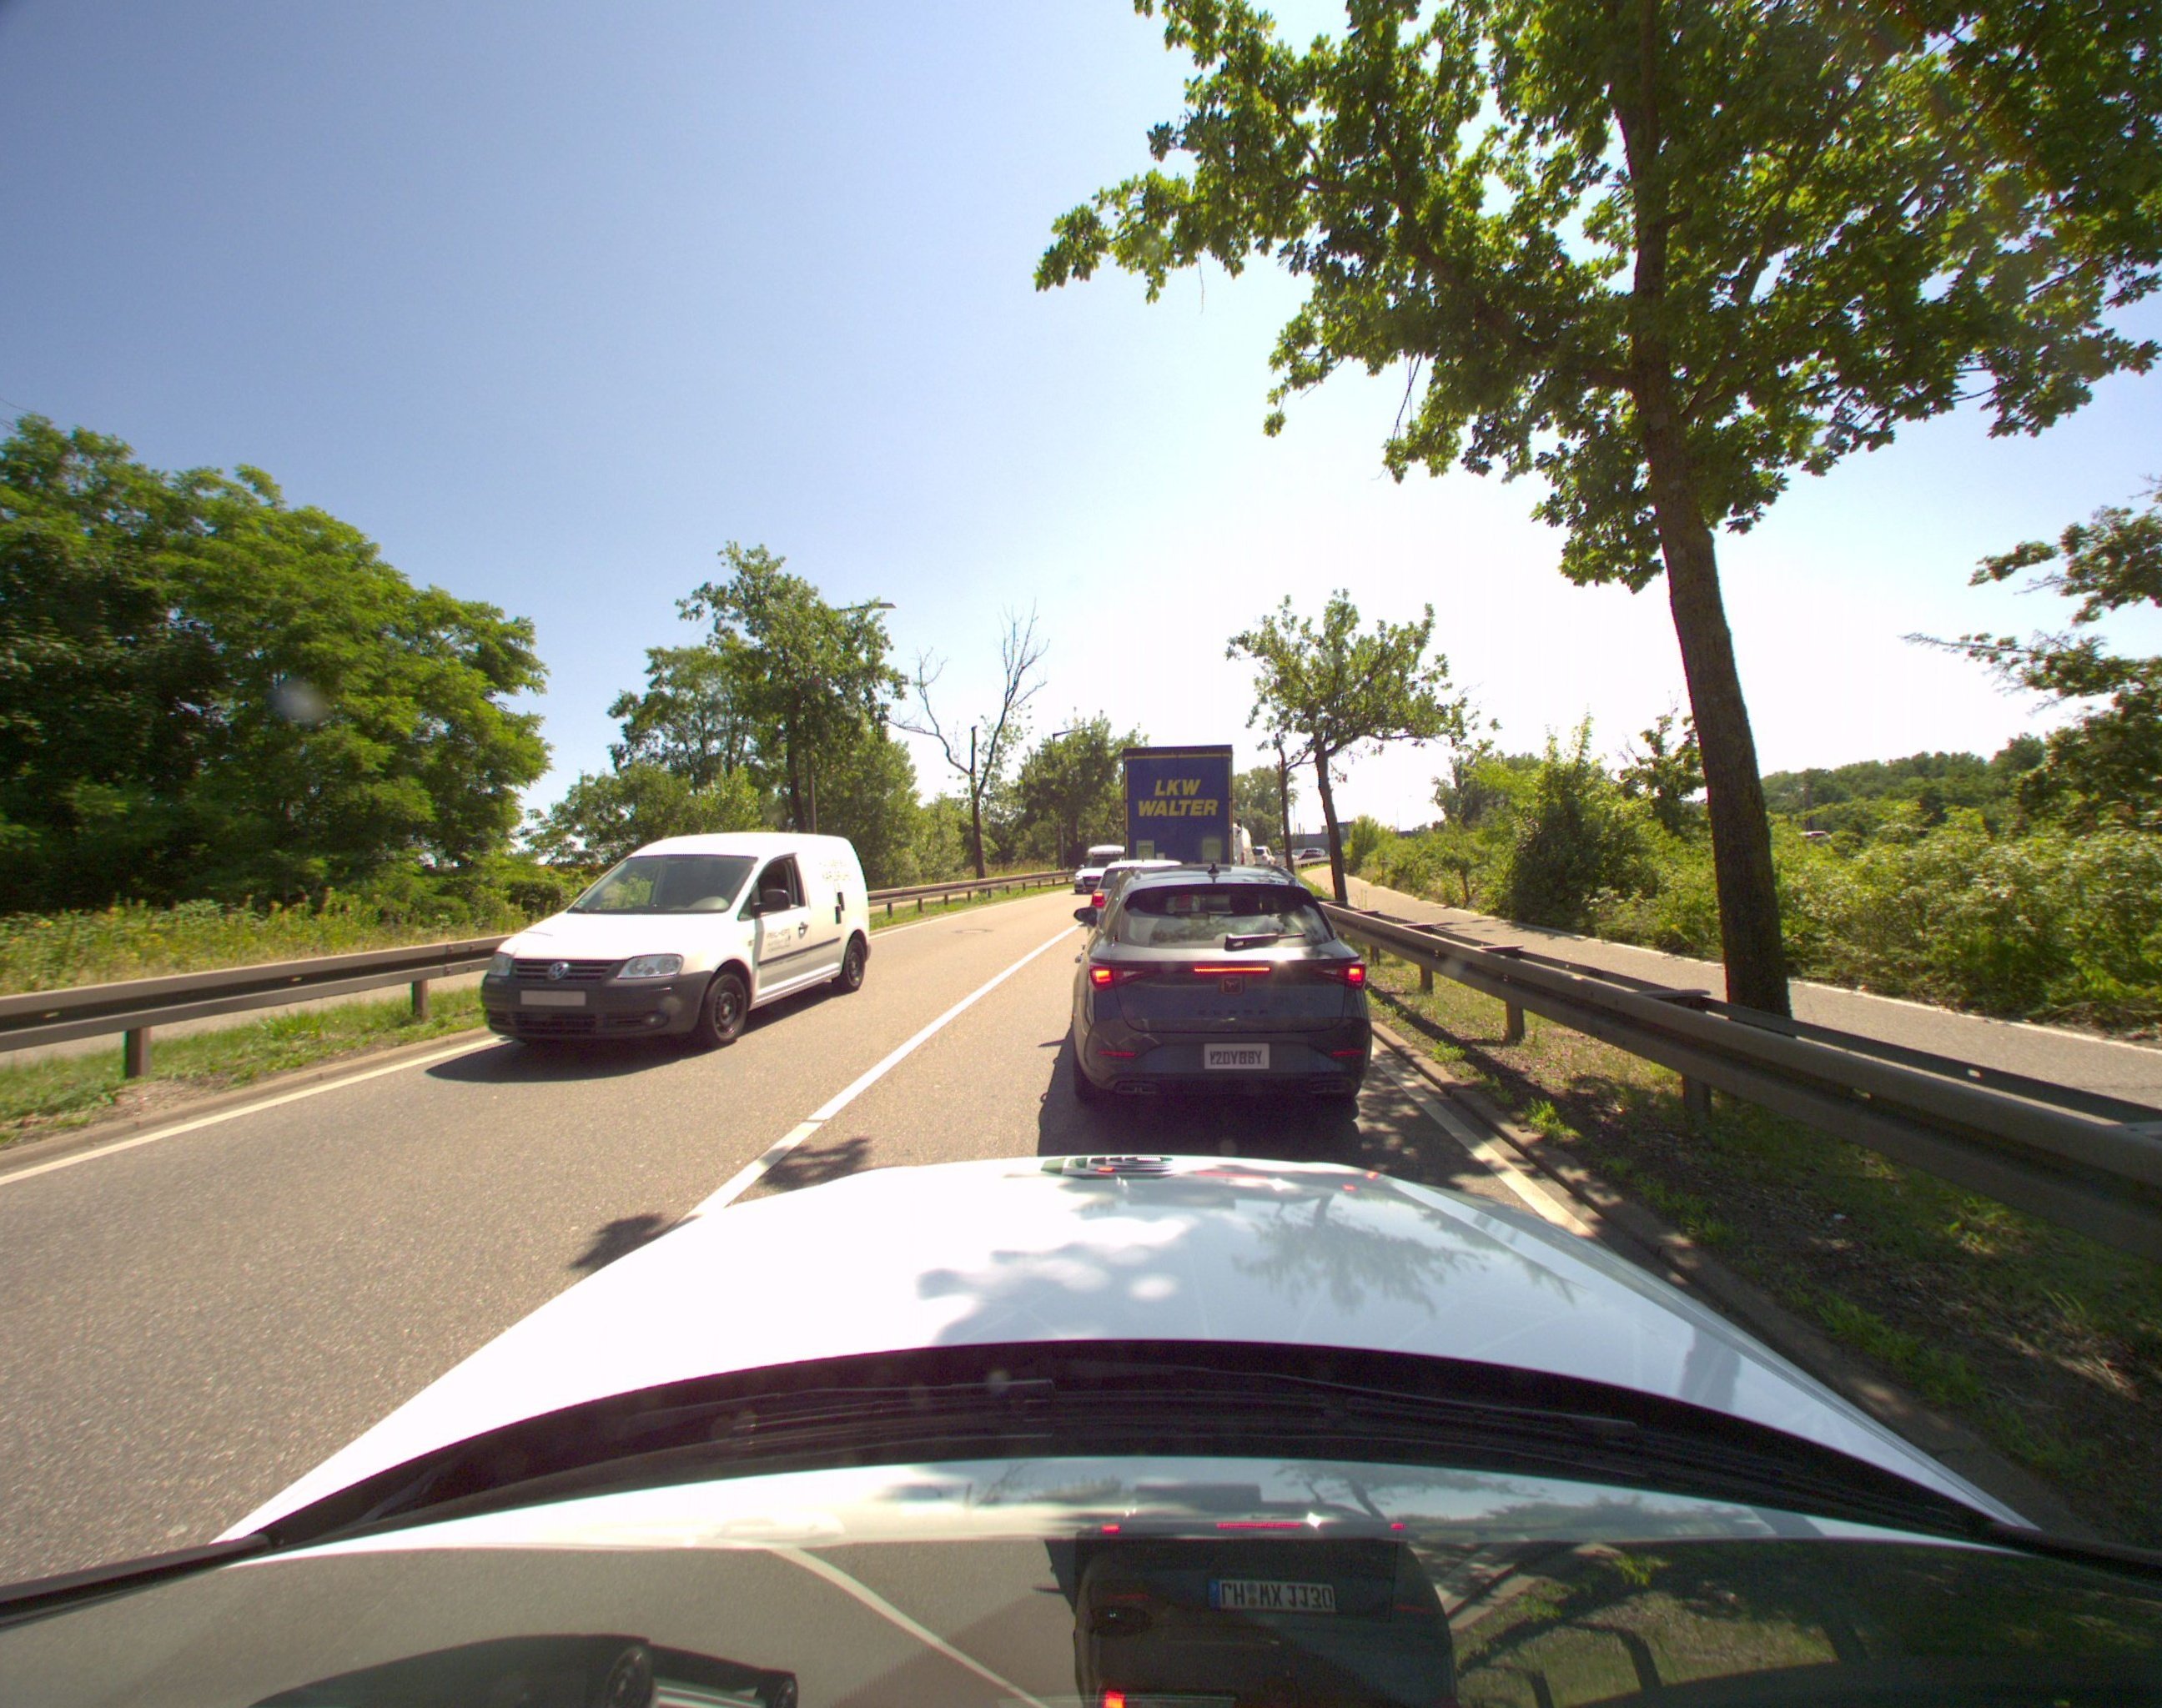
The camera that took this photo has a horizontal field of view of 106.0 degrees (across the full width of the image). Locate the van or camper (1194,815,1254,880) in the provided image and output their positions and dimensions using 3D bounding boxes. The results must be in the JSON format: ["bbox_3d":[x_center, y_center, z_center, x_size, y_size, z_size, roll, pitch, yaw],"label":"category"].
[{"bbox_3d":[7.223,-0.285,40.568,2.448,2.998,6.110,-1,0,14],"label":"van or camper"}]

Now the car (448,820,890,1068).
[{"bbox_3d":[-3.513,0.646,8.066,1.736,1.763,4.397,-1,0,7],"label":"car"}]

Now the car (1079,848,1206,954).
[{"bbox_3d":[1.043,0.682,13.748,1.801,1.508,4.005,-1,0,4],"label":"car"}]

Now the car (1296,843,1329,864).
[{"bbox_3d":[19.971,-0.034,70.081,1.975,1.717,4.896,-1,0,25],"label":"car"}]

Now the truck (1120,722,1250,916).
[{"bbox_3d":[3.788,-0.794,27.184,2.932,4.449,16.842,-1,0,10],"label":"truck"}]

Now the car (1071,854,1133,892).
[{"bbox_3d":[0.906,0.710,32.527,1.808,1.421,4.479,-1,0,10],"label":"car"}]

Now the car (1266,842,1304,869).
[{"bbox_3d":[14.505,0.090,57.794,1.976,1.808,4.871,-1,0,22],"label":"car"}]

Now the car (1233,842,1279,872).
[{"bbox_3d":[10.678,0.184,49.420,1.976,1.712,4.644,-1,0,21],"label":"car"}]

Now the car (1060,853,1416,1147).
[{"bbox_3d":[0.820,0.724,5.952,1.738,1.432,3.881,-1,0,1],"label":"car"}]
